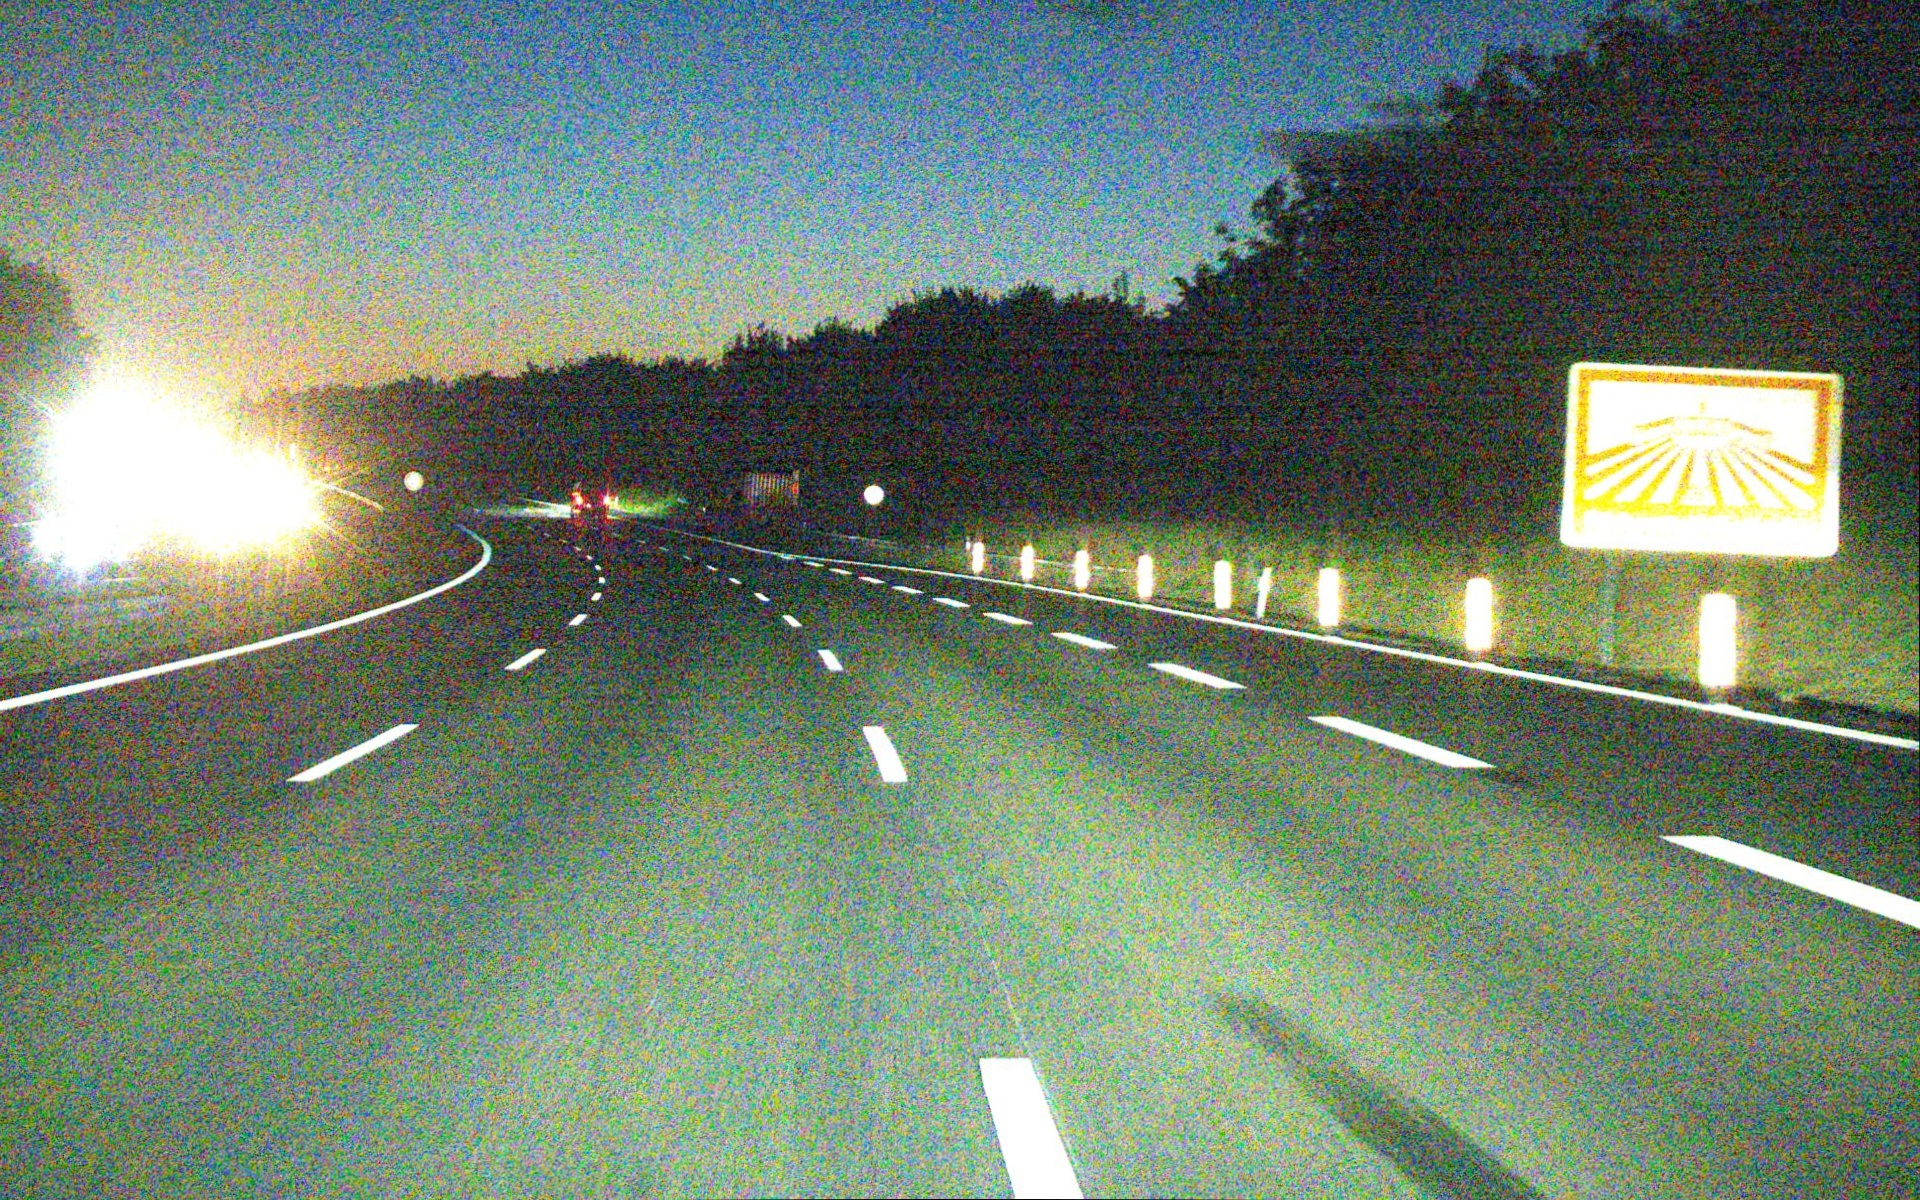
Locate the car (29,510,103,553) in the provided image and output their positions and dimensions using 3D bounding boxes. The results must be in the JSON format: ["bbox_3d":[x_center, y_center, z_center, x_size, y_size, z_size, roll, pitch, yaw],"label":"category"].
[{"bbox_3d":[-32.262,-2.485,124.173,1.993,1.503,4.316,0,1,-7],"label":"car"}]

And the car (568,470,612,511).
[{"bbox_3d":[-24.304,-7.225,225.782,2.527,2.544,6.053,3,2,-8],"label":"car"}]

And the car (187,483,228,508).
[{"bbox_3d":[-44.653,-6.203,203.968,1.993,1.503,4.001,0,2,-7],"label":"car"}]
